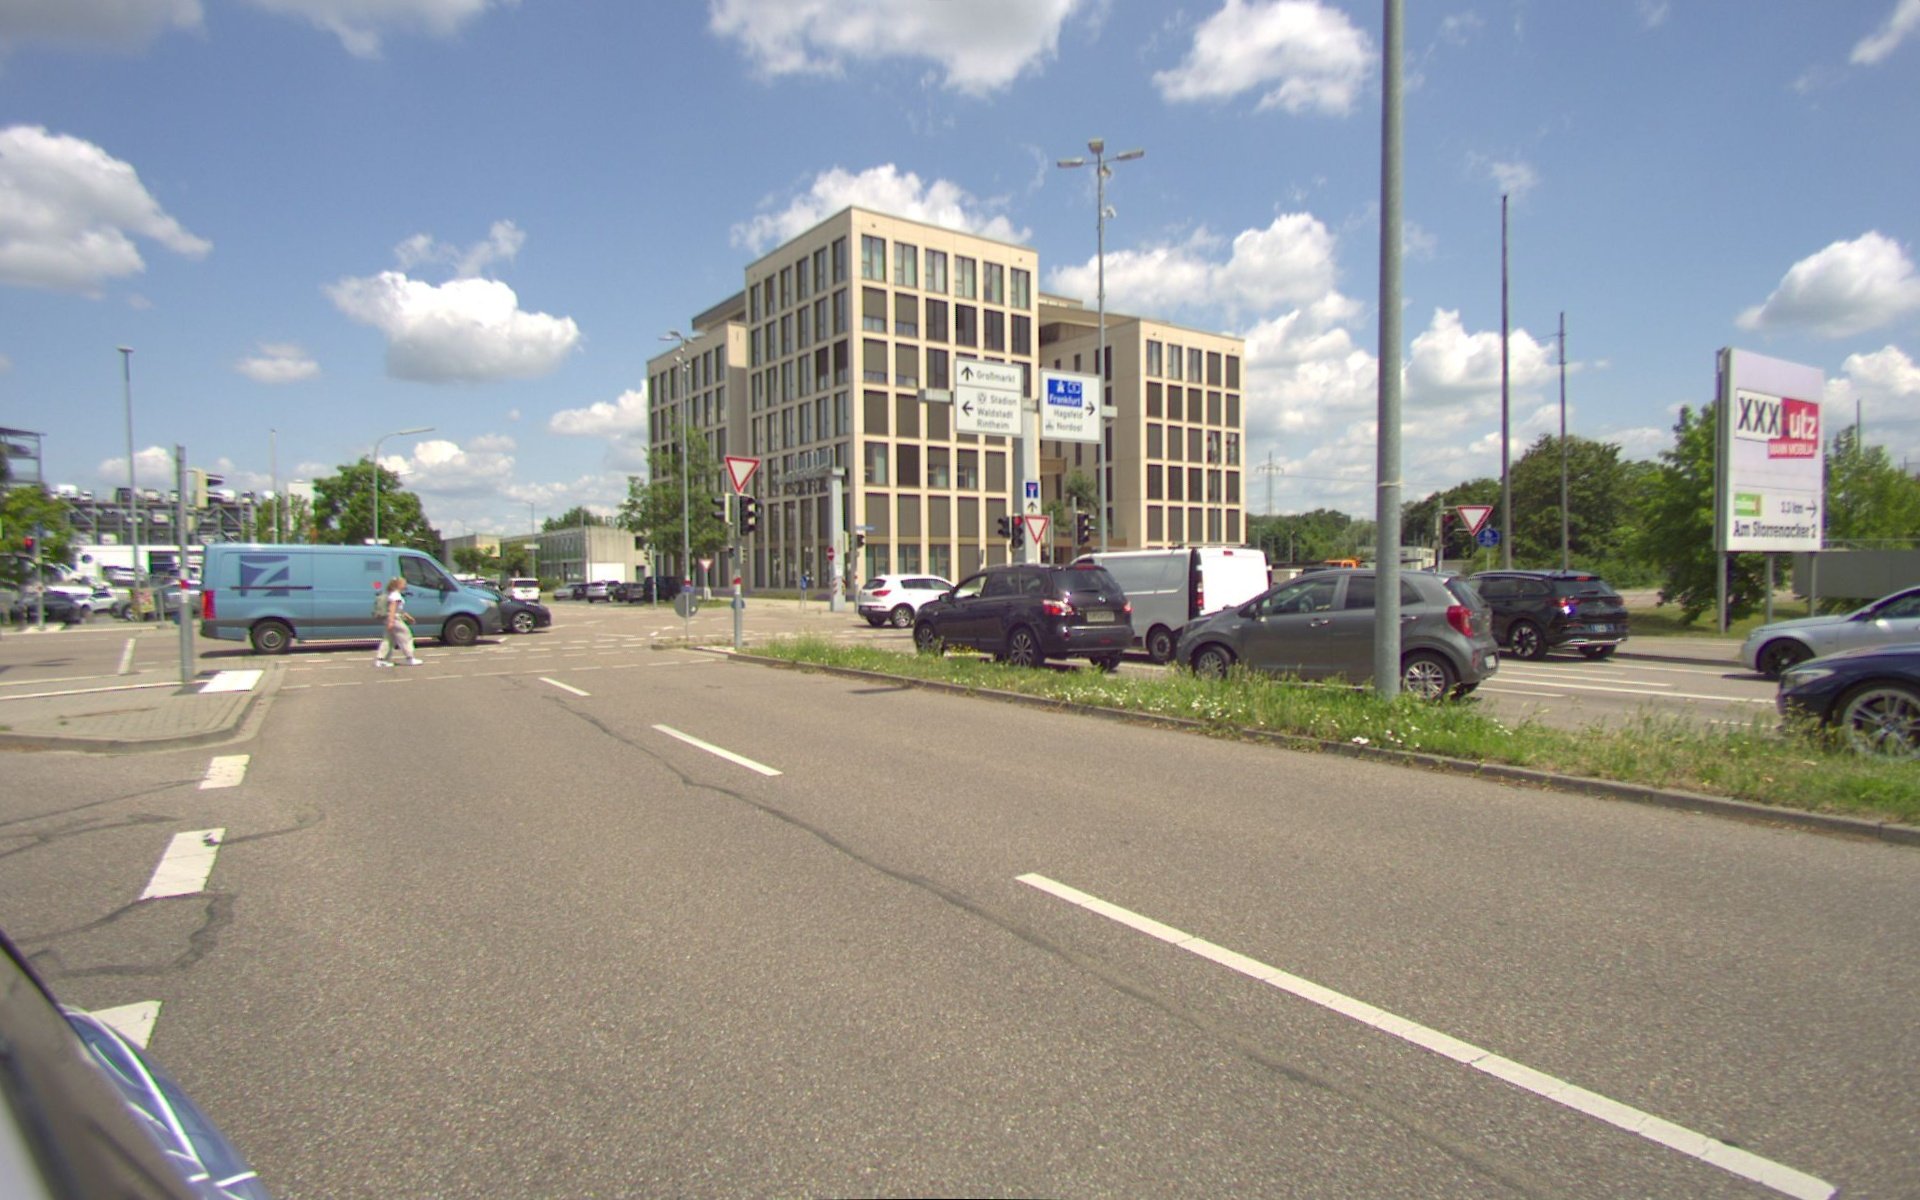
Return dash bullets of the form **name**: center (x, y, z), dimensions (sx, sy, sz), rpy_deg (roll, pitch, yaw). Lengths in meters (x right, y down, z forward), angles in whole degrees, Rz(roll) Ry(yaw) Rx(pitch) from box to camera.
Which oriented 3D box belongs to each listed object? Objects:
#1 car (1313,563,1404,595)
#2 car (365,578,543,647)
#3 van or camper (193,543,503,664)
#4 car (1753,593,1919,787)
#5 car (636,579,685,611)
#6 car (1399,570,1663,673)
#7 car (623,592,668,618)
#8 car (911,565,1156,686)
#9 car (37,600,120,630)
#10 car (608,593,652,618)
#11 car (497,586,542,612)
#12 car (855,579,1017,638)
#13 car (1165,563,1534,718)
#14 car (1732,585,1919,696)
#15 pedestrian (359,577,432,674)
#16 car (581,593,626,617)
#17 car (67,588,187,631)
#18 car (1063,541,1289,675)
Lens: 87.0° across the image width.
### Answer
- **car**: center (31.428, -1.675, 79.837), dimensions (6.422, 2.346, 2.863), rpy_deg (-1, -2, -23)
- **car**: center (-13.695, 0.291, 27.452), dimensions (4.112, 1.741, 1.868), rpy_deg (-1, 1, -33)
- **van or camper**: center (-13.571, 0.033, 22.720), dimensions (5.755, 2.399, 2.005), rpy_deg (-1, 1, -37)
- **car**: center (7.683, 0.562, 6.018), dimensions (1.767, 1.260, 4.318), rpy_deg (-1, 0, -33)
- **car**: center (-20.505, -0.372, 69.467), dimensions (2.114, 2.107, 4.023), rpy_deg (0, 1, 1)
- **car**: center (10.506, 0.372, 18.882), dimensions (1.767, 1.714, 3.881), rpy_deg (-1, 0, -33)
- **car**: center (-22.570, 0.327, 72.823), dimensions (1.838, 1.741, 4.179), rpy_deg (0, 1, 2)
- **car**: center (1.013, 0.368, 16.147), dimensions (1.767, 1.657, 4.182), rpy_deg (-1, 0, -32)
- **car**: center (-55.619, 0.904, 63.952), dimensions (1.969, 1.796, 4.005), rpy_deg (-1, 0, -5)
- **car**: center (-24.663, 0.391, 75.798), dimensions (1.838, 1.741, 4.179), rpy_deg (0, 1, 2)
- **car**: center (-30.760, -0.113, 70.577), dimensions (2.253, 1.731, 4.496), rpy_deg (-1, 1, -32)
- **car**: center (-0.728, 0.216, 32.311), dimensions (4.943, 1.741, 1.868), rpy_deg (-1, 1, -33)
- **car**: center (4.565, 0.436, 12.089), dimensions (3.765, 1.572, 1.774), rpy_deg (-1, -1, 38)
- **car**: center (12.986, 0.502, 13.000), dimensions (1.597, 1.401, 4.596), rpy_deg (-1, 0, -31)
- **pedestrian**: center (-10.095, 0.436, 18.099), dimensions (0.971, 1.664, 0.828), rpy_deg (-1, 1, 41)
- **car**: center (-26.985, 0.358, 76.799), dimensions (1.838, 1.741, 4.179), rpy_deg (0, 1, 2)
- **car**: center (-36.246, 0.387, 44.183), dimensions (3.934, 1.796, 2.005), rpy_deg (-1, 0, -36)
- **car**: center (3.622, 0.141, 17.543), dimensions (1.832, 2.059, 3.586), rpy_deg (-1, 0, -32)
